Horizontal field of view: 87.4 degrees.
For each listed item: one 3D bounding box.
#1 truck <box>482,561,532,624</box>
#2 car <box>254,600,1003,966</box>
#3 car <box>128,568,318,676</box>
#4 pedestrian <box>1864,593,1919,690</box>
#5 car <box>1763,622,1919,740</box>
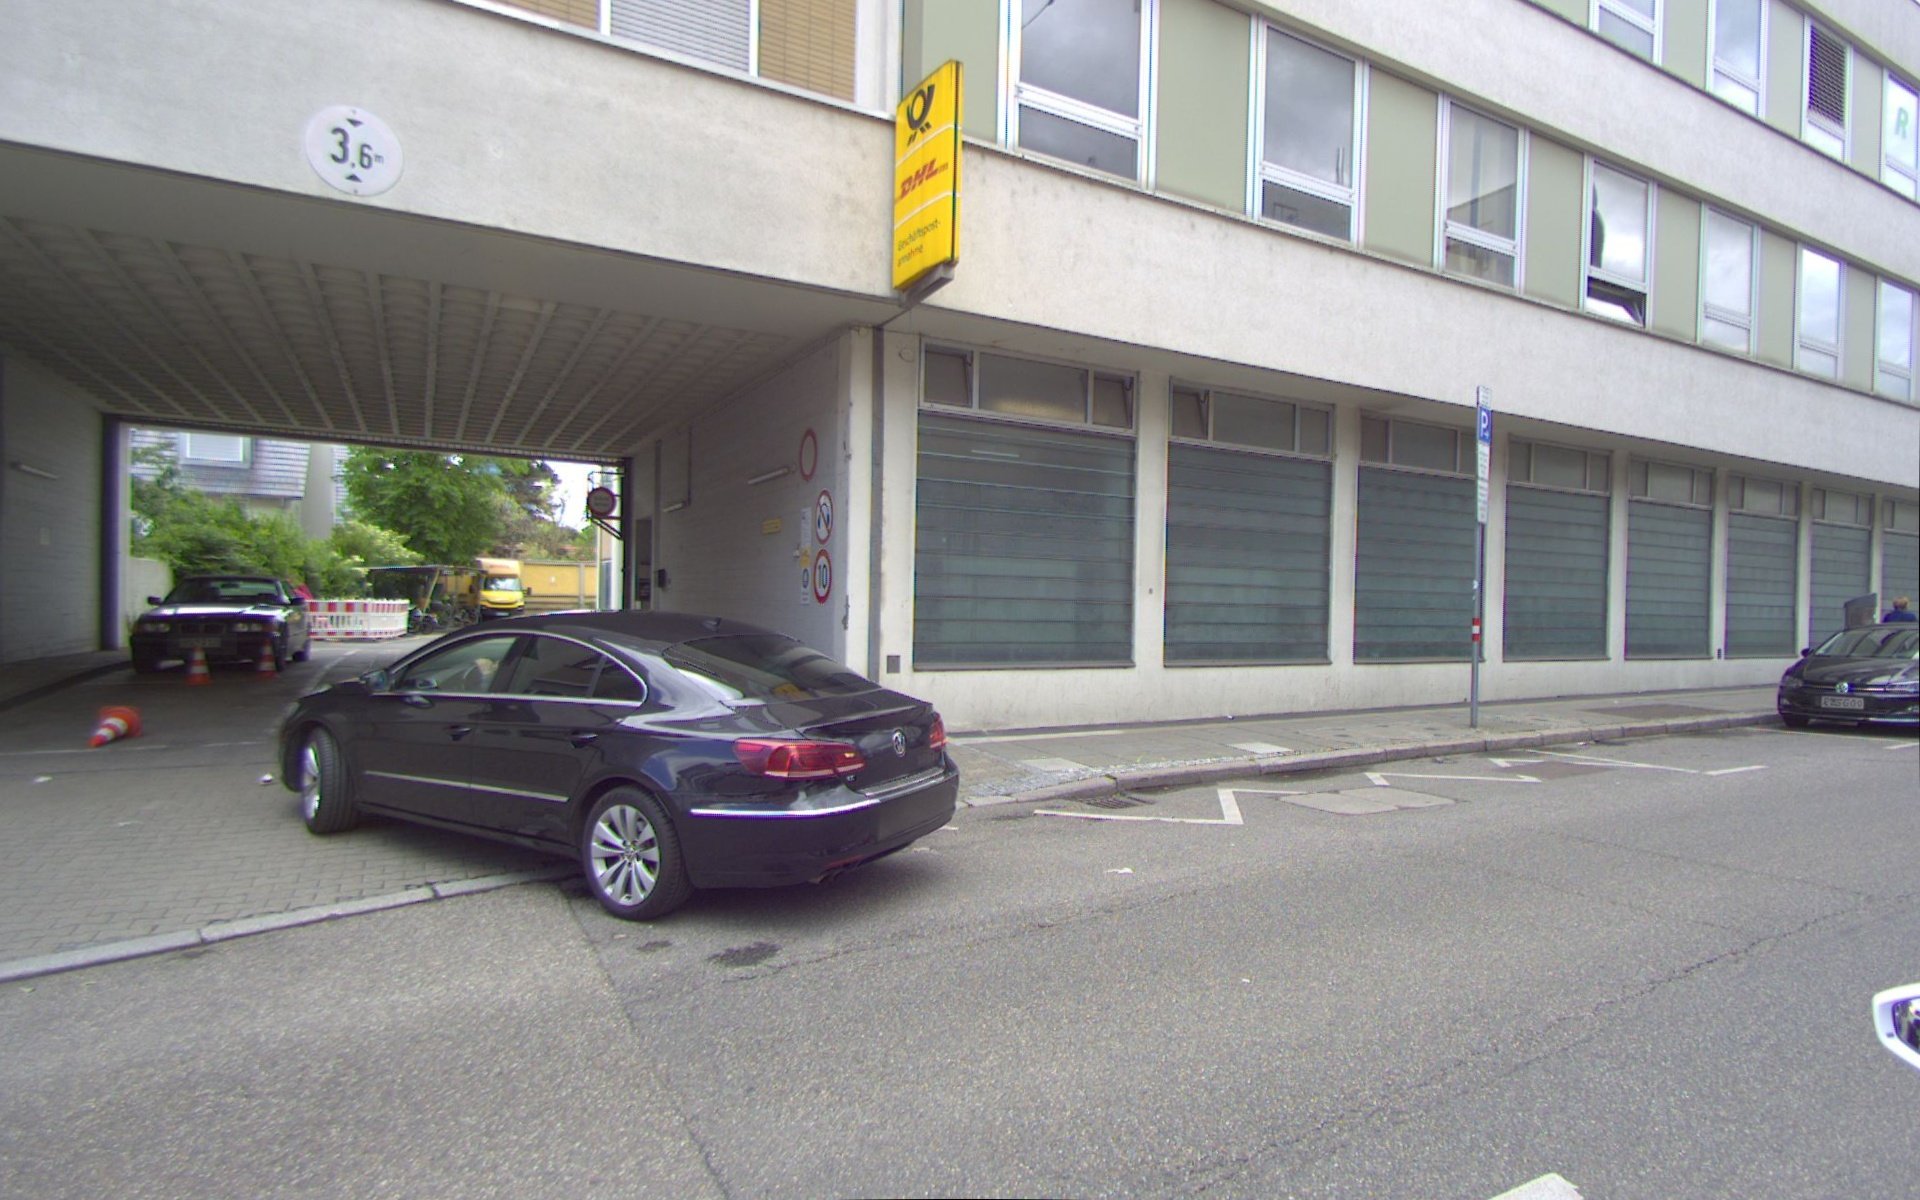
[{"bbox_3d":[-21.782,-0.436,48.495,1.971,2.789,7.255,1,1,-23],"label":"truck"},{"bbox_3d":[-2.078,0.758,5.913,4.373,1.417,1.654,1,0,29],"label":"car"},{"bbox_3d":[-10.672,0.257,14.842,1.604,1.341,4.421,1,0,-28],"label":"car"},{"bbox_3d":[17.438,0.757,18.723,1.043,1.741,0.586,1,0,-31],"label":"pedestrian"},{"bbox_3d":[13.061,1.031,14.000,3.826,1.444,1.708,1,-1,-31],"label":"car"}]
